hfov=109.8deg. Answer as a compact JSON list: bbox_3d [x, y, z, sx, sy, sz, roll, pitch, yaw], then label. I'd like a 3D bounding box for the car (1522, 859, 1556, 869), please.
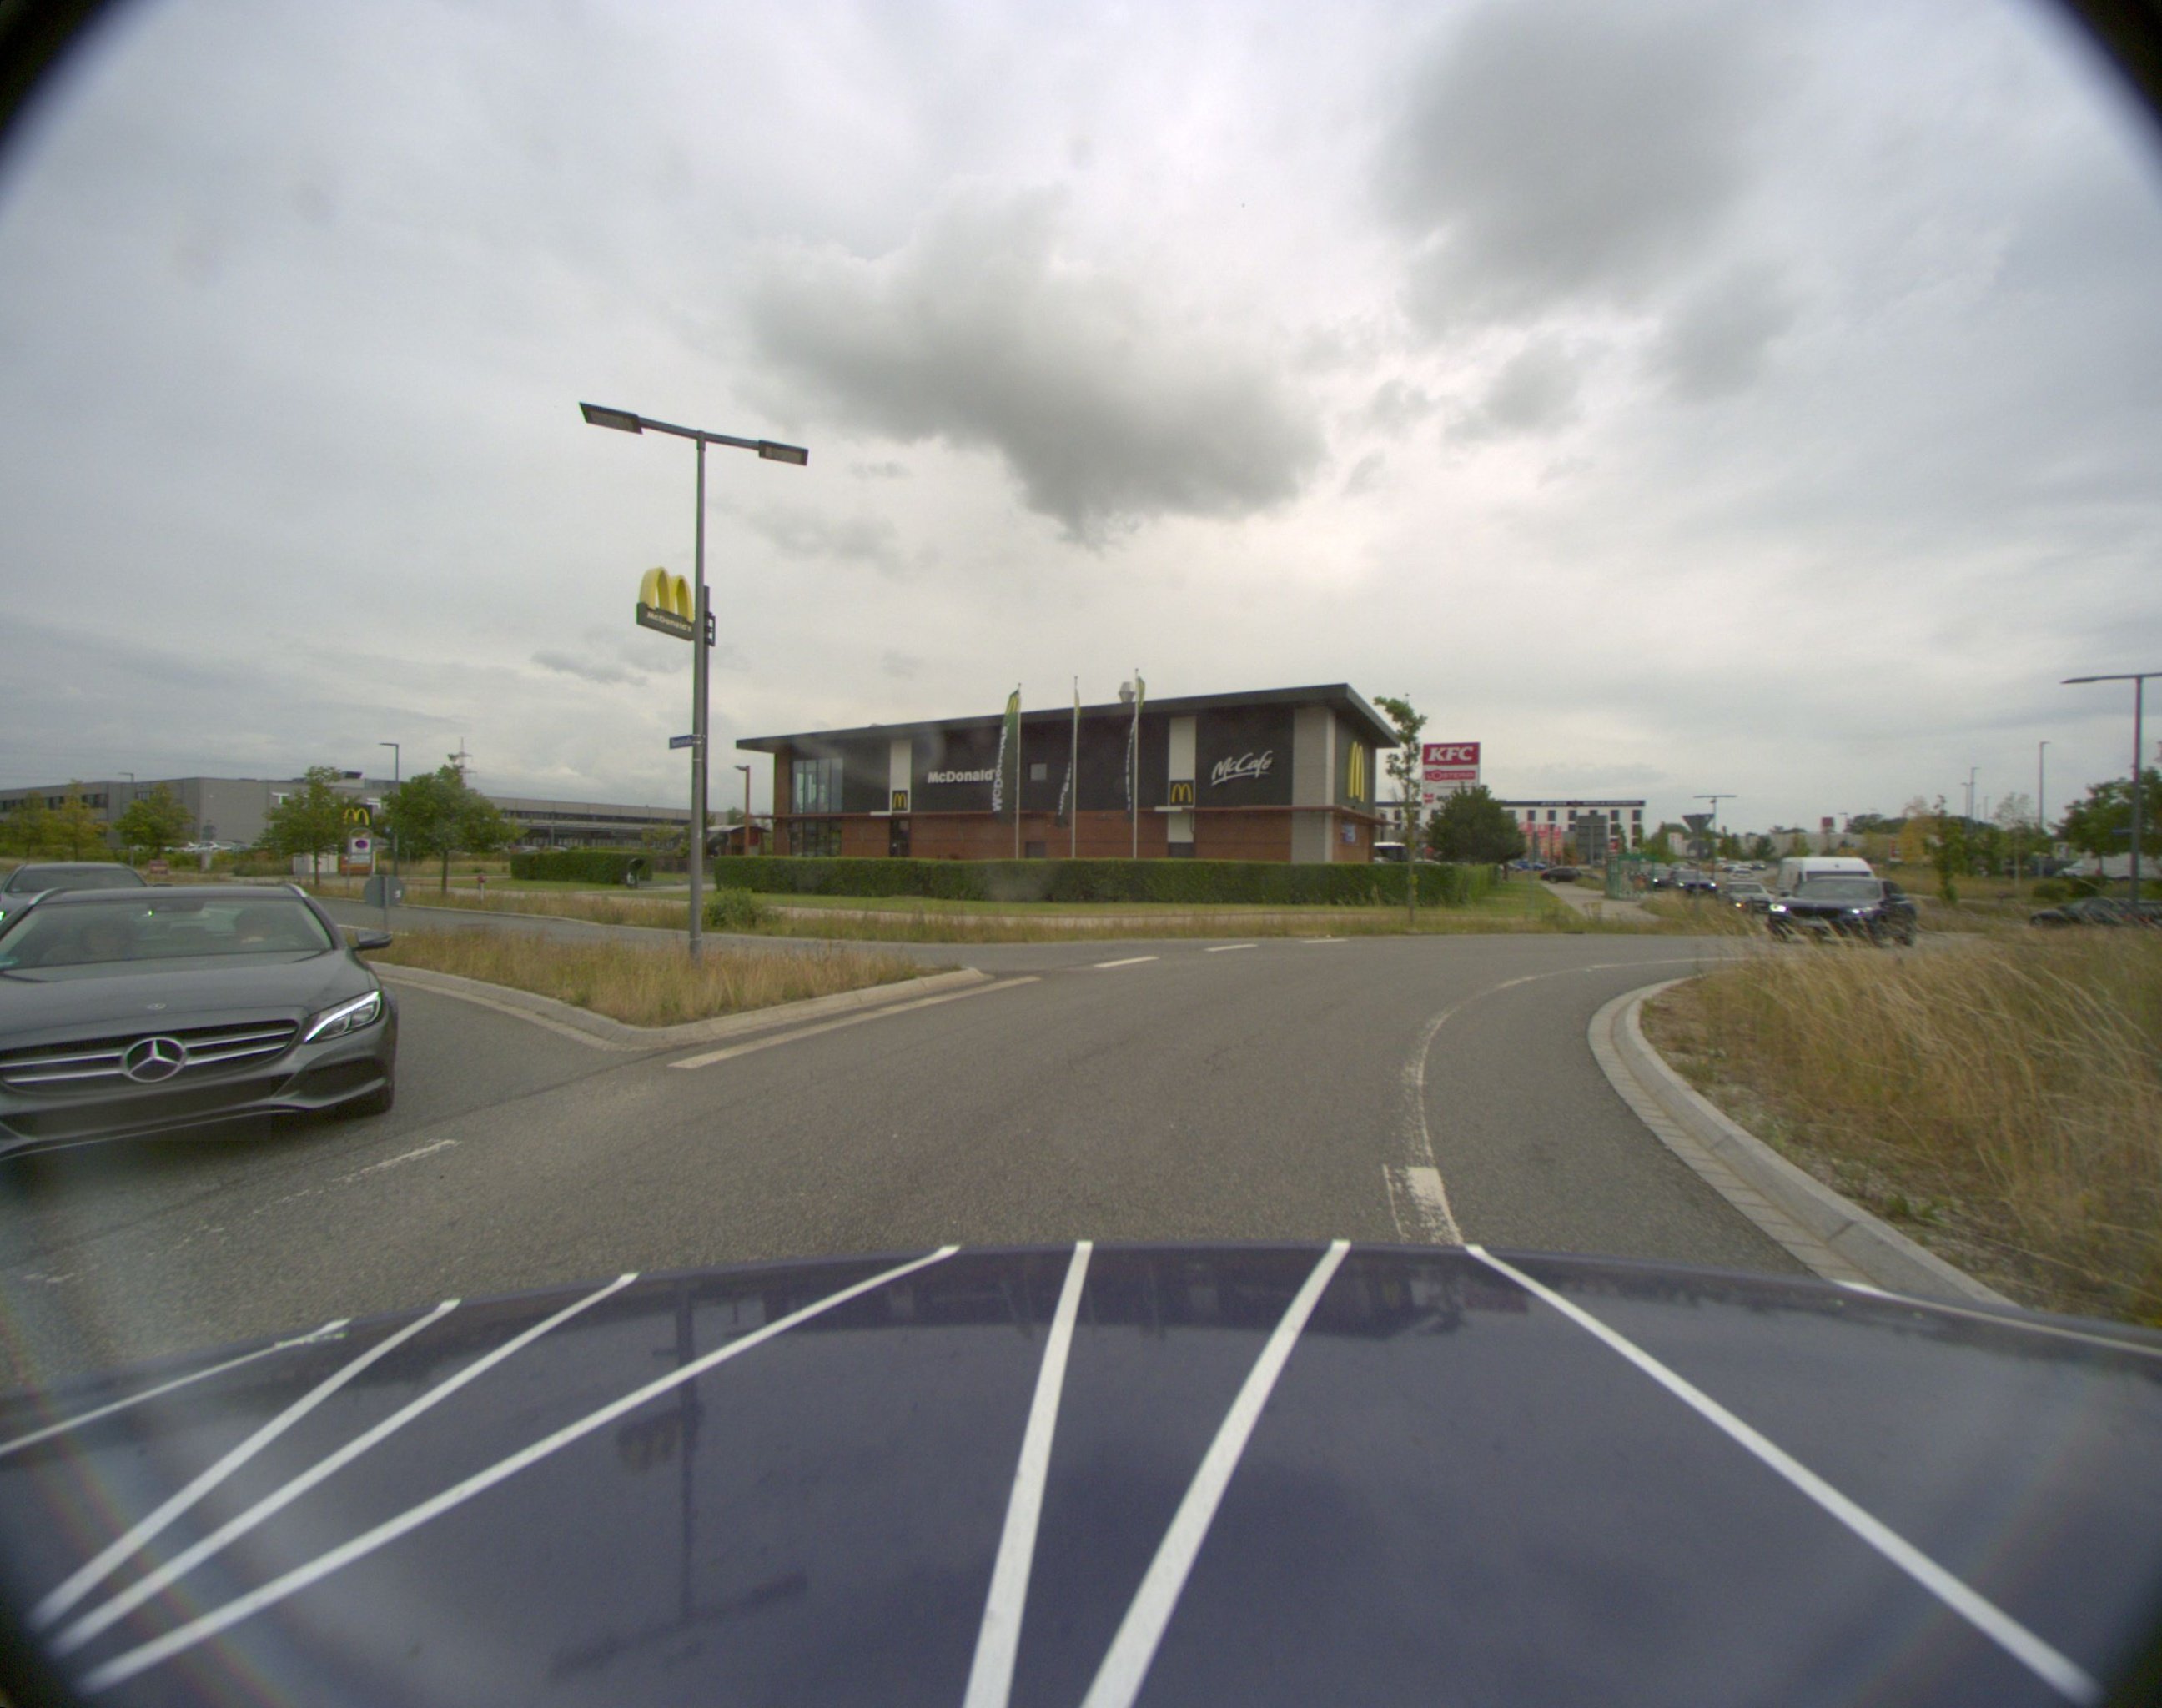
[{"bbox_3d":[68.210,1.497,113.090,1.851,1.477,3.989,-2,1,-44],"label":"car"}]

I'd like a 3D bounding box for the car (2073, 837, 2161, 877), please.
[{"bbox_3d":[71.247,0.164,50.336,6.402,2.609,2.068,-1,1,33],"label":"car"}]

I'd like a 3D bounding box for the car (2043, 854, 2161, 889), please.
[{"bbox_3d":[73.665,1.240,54.697,5.044,2.359,2.068,-1,1,30],"label":"car"}]

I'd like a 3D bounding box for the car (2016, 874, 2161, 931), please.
[{"bbox_3d":[34.740,1.568,25.672,1.996,1.599,4.302,-1,0,19],"label":"car"}]

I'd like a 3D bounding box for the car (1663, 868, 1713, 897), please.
[{"bbox_3d":[38.467,1.777,48.246,1.863,1.598,4.008,1,1,30],"label":"car"}]

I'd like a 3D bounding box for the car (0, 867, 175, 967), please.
[{"bbox_3d":[-18.136,1.018,13.827,4.669,1.498,2.004,-1,1,41],"label":"car"}]

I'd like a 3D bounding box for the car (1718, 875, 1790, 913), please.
[{"bbox_3d":[32.661,1.886,36.978,1.863,1.598,4.008,1,1,30],"label":"car"}]

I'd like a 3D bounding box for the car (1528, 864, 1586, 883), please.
[{"bbox_3d":[40.358,1.639,64.507,3.990,1.477,1.850,-1,1,25],"label":"car"}]

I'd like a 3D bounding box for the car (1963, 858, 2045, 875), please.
[{"bbox_3d":[94.809,1.277,78.166,5.042,1.647,2.069,1,1,39],"label":"car"}]

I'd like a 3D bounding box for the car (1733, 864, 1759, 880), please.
[{"bbox_3d":[61.030,1.640,69.776,1.722,1.400,4.654,2,0,41],"label":"car"}]

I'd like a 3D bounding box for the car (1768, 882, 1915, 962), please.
[{"bbox_3d":[18.543,1.546,18.483,4.008,1.598,1.863,0,1,-36],"label":"car"}]

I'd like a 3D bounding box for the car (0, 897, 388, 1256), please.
[{"bbox_3d":[-5.989,1.048,4.991,1.932,1.395,4.675,-1,-1,-44],"label":"car"}]

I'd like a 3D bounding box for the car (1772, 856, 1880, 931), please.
[{"bbox_3d":[27.989,1.347,28.772,2.021,2.513,6.118,1,1,36],"label":"car"}]

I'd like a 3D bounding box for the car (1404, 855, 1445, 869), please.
[{"bbox_3d":[37.356,0.844,82.656,3.990,1.477,1.850,-1,1,25],"label":"car"}]
